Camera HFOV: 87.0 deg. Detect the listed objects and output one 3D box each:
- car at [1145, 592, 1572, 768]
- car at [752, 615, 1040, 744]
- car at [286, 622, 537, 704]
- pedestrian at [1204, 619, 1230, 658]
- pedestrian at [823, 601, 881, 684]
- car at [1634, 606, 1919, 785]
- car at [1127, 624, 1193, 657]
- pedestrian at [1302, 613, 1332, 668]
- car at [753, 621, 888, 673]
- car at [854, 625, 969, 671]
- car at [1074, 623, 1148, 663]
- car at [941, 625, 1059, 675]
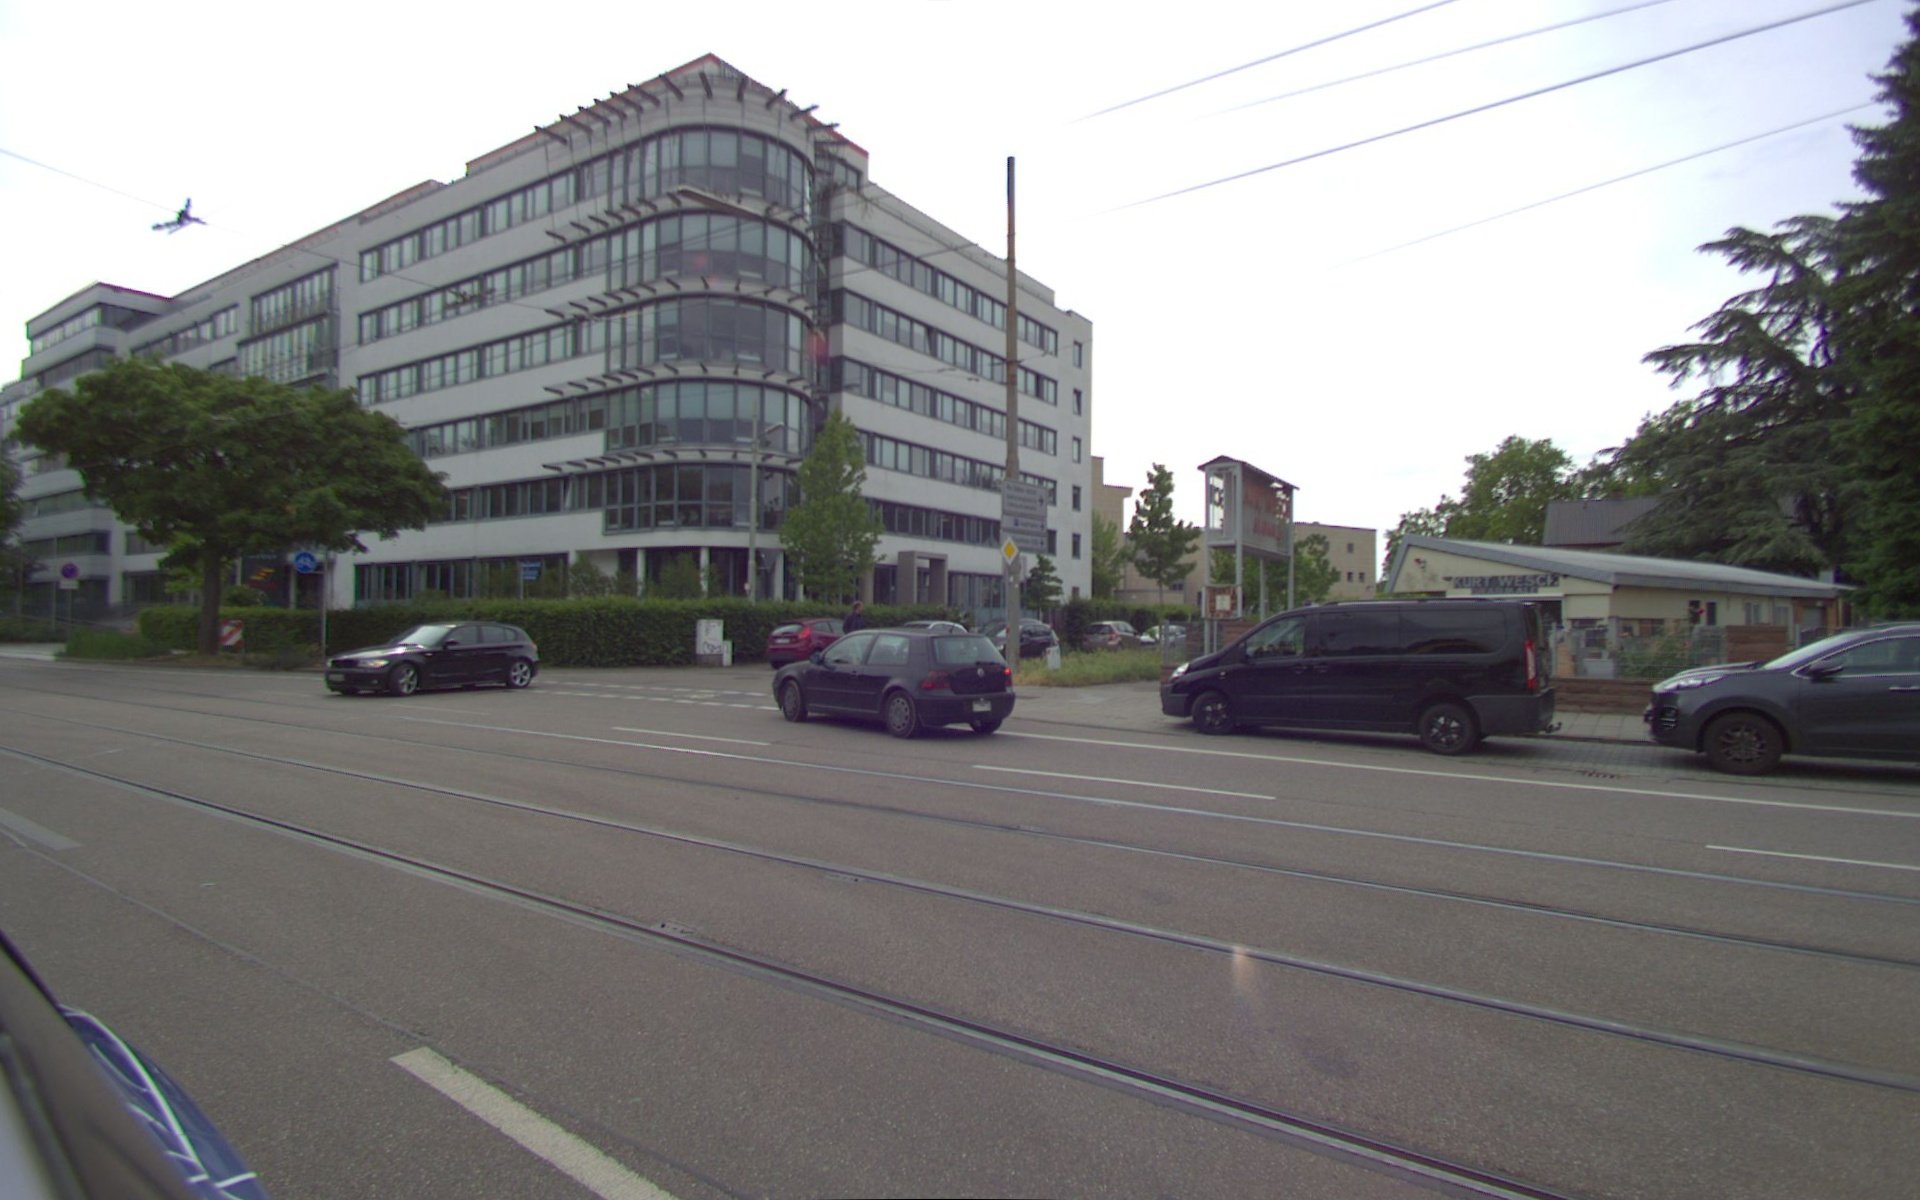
[{"bbox_3d":[5.355,0.928,13.989,5.175,2.029,1.969,0,0,36],"label":"car"},{"bbox_3d":[-1.021,1.040,14.261,1.769,1.542,4.144,5,-4,-44],"label":"car"},{"bbox_3d":[-10.560,1.142,19.827,1.778,1.379,4.077,0,-1,26],"label":"car"},{"bbox_3d":[13.603,2.032,53.558,1.180,2.029,1.207,0,-2,22],"label":"pedestrian"},{"bbox_3d":[-2.477,0.957,23.198,1.058,1.839,0.796,-1,-1,39],"label":"pedestrian"},{"bbox_3d":[10.102,0.963,11.036,4.524,1.762,2.020,-2,-1,35],"label":"car"},{"bbox_3d":[10.128,2.006,51.073,1.876,1.573,3.953,-1,-1,35],"label":"car"},{"bbox_3d":[11.968,1.345,33.926,0.761,1.787,0.627,-1,-1,41],"label":"pedestrian"},{"bbox_3d":[-4.031,1.359,29.748,1.721,1.433,3.972,-3,-3,34],"label":"car"},{"bbox_3d":[-1.530,1.531,33.303,1.774,1.359,4.003,0,-1,33],"label":"car"},{"bbox_3d":[6.908,1.930,46.124,1.884,1.694,3.792,-1,-1,35],"label":"car"},{"bbox_3d":[1.330,1.541,32.094,1.813,1.462,3.937,-1,-2,37],"label":"car"}]
